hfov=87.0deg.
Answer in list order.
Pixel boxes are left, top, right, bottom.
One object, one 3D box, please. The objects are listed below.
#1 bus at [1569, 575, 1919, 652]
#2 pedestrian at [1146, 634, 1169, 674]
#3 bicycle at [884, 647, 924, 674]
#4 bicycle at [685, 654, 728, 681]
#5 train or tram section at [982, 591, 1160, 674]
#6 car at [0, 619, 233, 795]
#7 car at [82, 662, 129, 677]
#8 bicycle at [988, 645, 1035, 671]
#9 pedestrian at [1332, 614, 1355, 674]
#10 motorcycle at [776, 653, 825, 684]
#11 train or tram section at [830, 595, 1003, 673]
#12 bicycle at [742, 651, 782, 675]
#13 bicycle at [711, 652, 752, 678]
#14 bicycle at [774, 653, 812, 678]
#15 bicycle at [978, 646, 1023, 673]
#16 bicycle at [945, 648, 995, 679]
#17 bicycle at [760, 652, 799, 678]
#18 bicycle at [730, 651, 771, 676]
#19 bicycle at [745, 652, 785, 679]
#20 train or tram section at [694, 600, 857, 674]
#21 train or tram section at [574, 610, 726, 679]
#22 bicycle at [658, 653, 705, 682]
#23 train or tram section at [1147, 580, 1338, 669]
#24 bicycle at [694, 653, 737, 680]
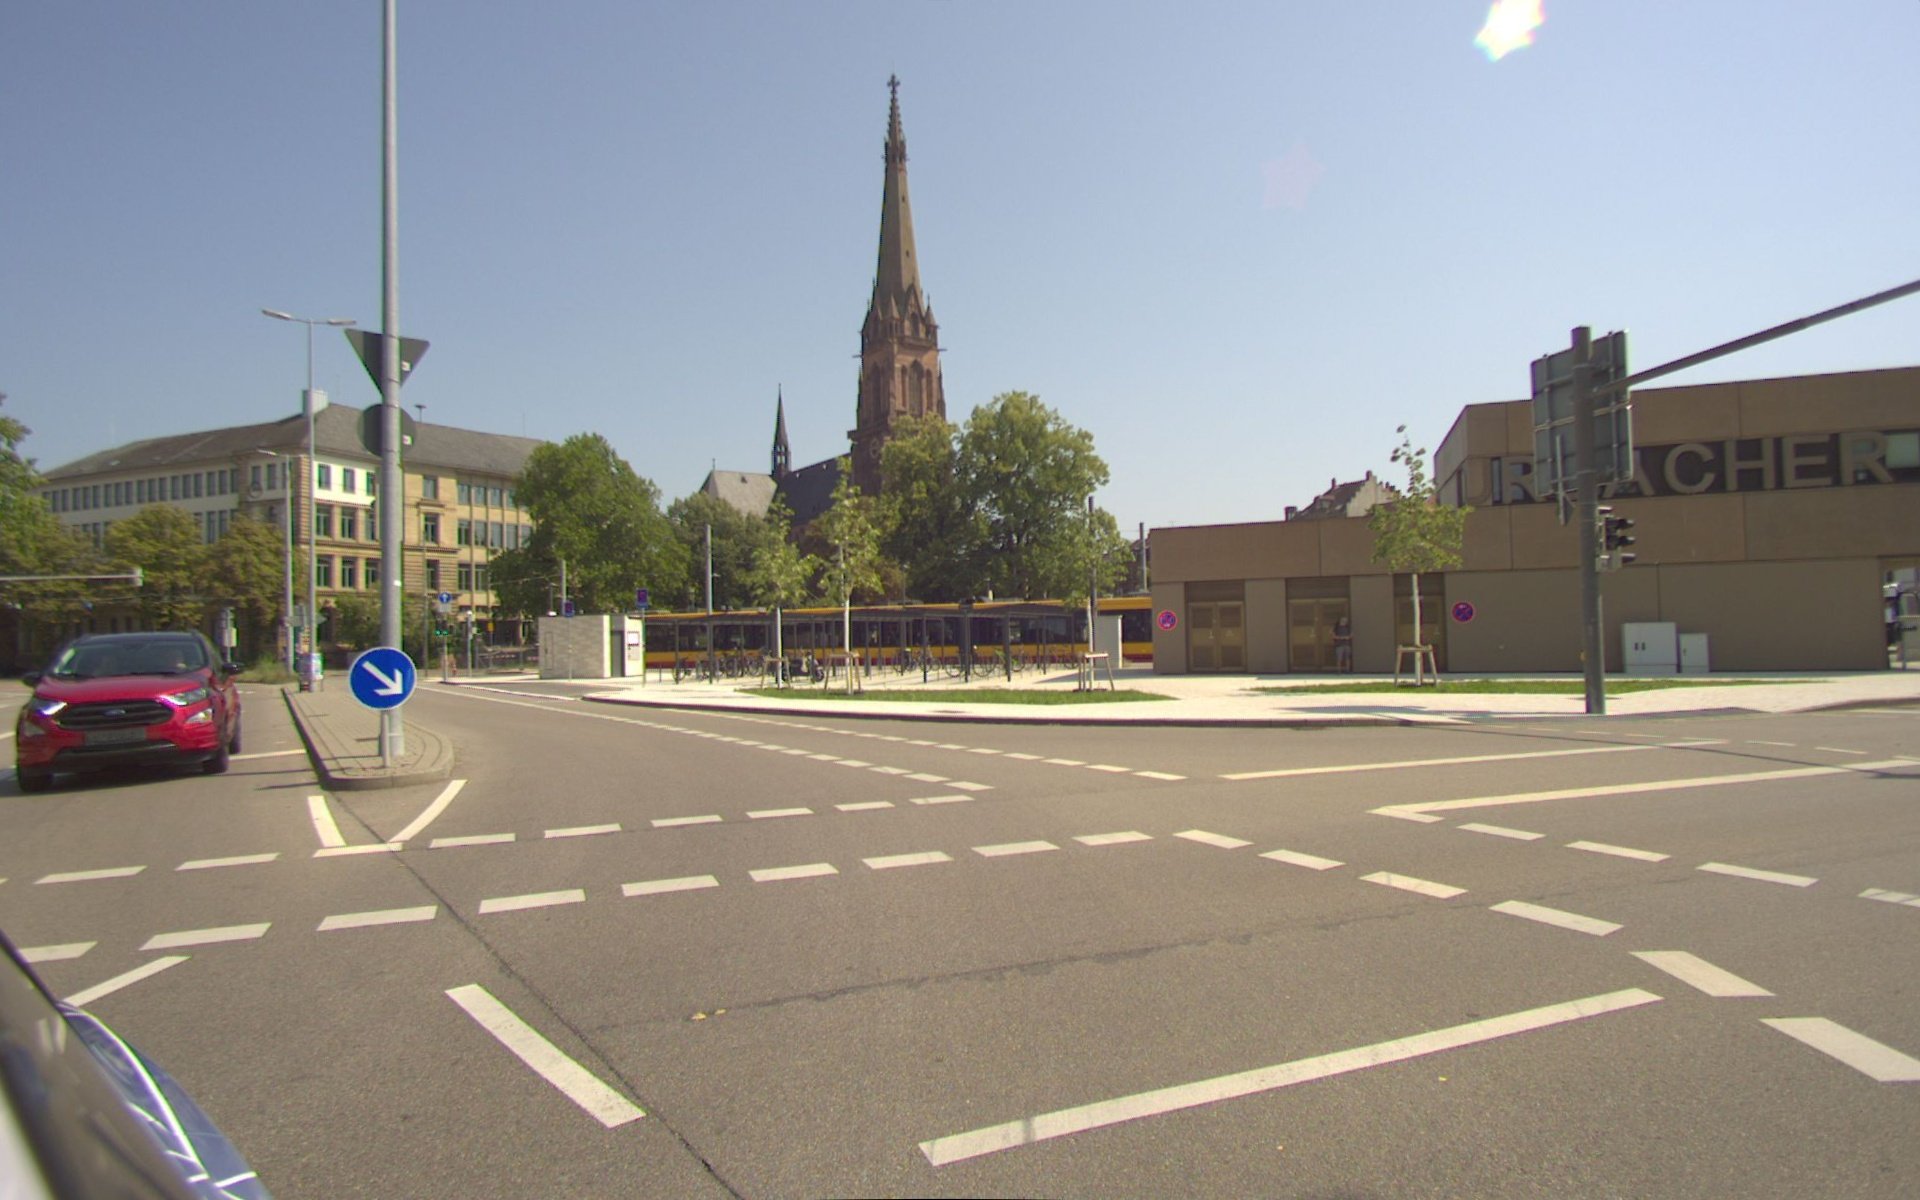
[{"bbox_3d":[35.728,0.715,46.820,12.391,3.094,3.085,-2,-2,21],"label":"bus"},{"bbox_3d":[7.129,1.944,36.566,0.436,1.421,0.669,0,-3,-36],"label":"pedestrian"},{"bbox_3d":[-2.312,2.497,41.814,1.630,1.048,0.410,-3,-3,23],"label":"bicycle"},{"bbox_3d":[-10.262,2.738,40.954,1.758,1.048,0.523,-3,-3,23],"label":"bicycle"},{"bbox_3d":[5.486,1.691,50.083,8.184,3.625,3.140,-3,-4,20],"label":"train or tram section"},{"bbox_3d":[-9.476,1.119,11.586,1.815,1.627,4.009,0,-3,-35],"label":"car"},{"bbox_3d":[-76.464,6.236,90.613,1.240,1.185,3.042,-2,-3,15],"label":"car"},{"bbox_3d":[2.098,2.391,41.595,1.842,0.993,0.510,-3,-3,19],"label":"bicycle"},{"bbox_3d":[10.968,1.268,28.962,0.532,1.691,0.565,-2,-3,19],"label":"pedestrian"},{"bbox_3d":[-5.797,2.468,36.682,1.768,1.077,0.487,-3,-3,23],"label":"motorcycle"},{"bbox_3d":[-2.289,1.844,52.996,8.462,3.625,3.140,-3,-4,20],"label":"train or tram section"},{"bbox_3d":[-8.917,2.842,45.589,1.758,1.048,0.523,-3,-3,23],"label":"bicycle"},{"bbox_3d":[-9.774,2.774,43.267,1.758,1.048,0.523,-3,-3,23],"label":"bicycle"},{"bbox_3d":[-7.212,2.839,43.758,1.630,1.048,0.410,-3,-3,23],"label":"bicycle"},{"bbox_3d":[1.588,2.357,40.056,1.714,1.048,0.512,-2,-3,8],"label":"bicycle"},{"bbox_3d":[0.366,2.308,36.847,1.718,1.048,0.511,-2,-3,14],"label":"bicycle"},{"bbox_3d":[-7.518,2.694,42.145,1.630,1.048,0.410,-3,-3,23],"label":"bicycle"},{"bbox_3d":[-9.210,2.811,44.452,1.758,1.048,0.523,-3,-3,23],"label":"bicycle"},{"bbox_3d":[-7.970,2.673,41.385,1.630,1.048,0.410,-3,-3,23],"label":"bicycle"},{"bbox_3d":[-10.200,2.125,55.962,8.462,3.625,3.140,-3,-4,20],"label":"train or tram section"},{"bbox_3d":[-18.036,2.624,58.886,8.265,3.588,3.117,-3,-4,20],"label":"train or tram section"},{"bbox_3d":[-10.976,2.671,39.854,1.853,1.090,0.523,-3,-3,23],"label":"bicycle"},{"bbox_3d":[13.131,1.246,47.254,8.182,3.597,3.124,-3,-4,20],"label":"train or tram section"},{"bbox_3d":[-10.053,2.736,41.626,1.758,1.048,0.523,-3,-3,23],"label":"bicycle"}]
